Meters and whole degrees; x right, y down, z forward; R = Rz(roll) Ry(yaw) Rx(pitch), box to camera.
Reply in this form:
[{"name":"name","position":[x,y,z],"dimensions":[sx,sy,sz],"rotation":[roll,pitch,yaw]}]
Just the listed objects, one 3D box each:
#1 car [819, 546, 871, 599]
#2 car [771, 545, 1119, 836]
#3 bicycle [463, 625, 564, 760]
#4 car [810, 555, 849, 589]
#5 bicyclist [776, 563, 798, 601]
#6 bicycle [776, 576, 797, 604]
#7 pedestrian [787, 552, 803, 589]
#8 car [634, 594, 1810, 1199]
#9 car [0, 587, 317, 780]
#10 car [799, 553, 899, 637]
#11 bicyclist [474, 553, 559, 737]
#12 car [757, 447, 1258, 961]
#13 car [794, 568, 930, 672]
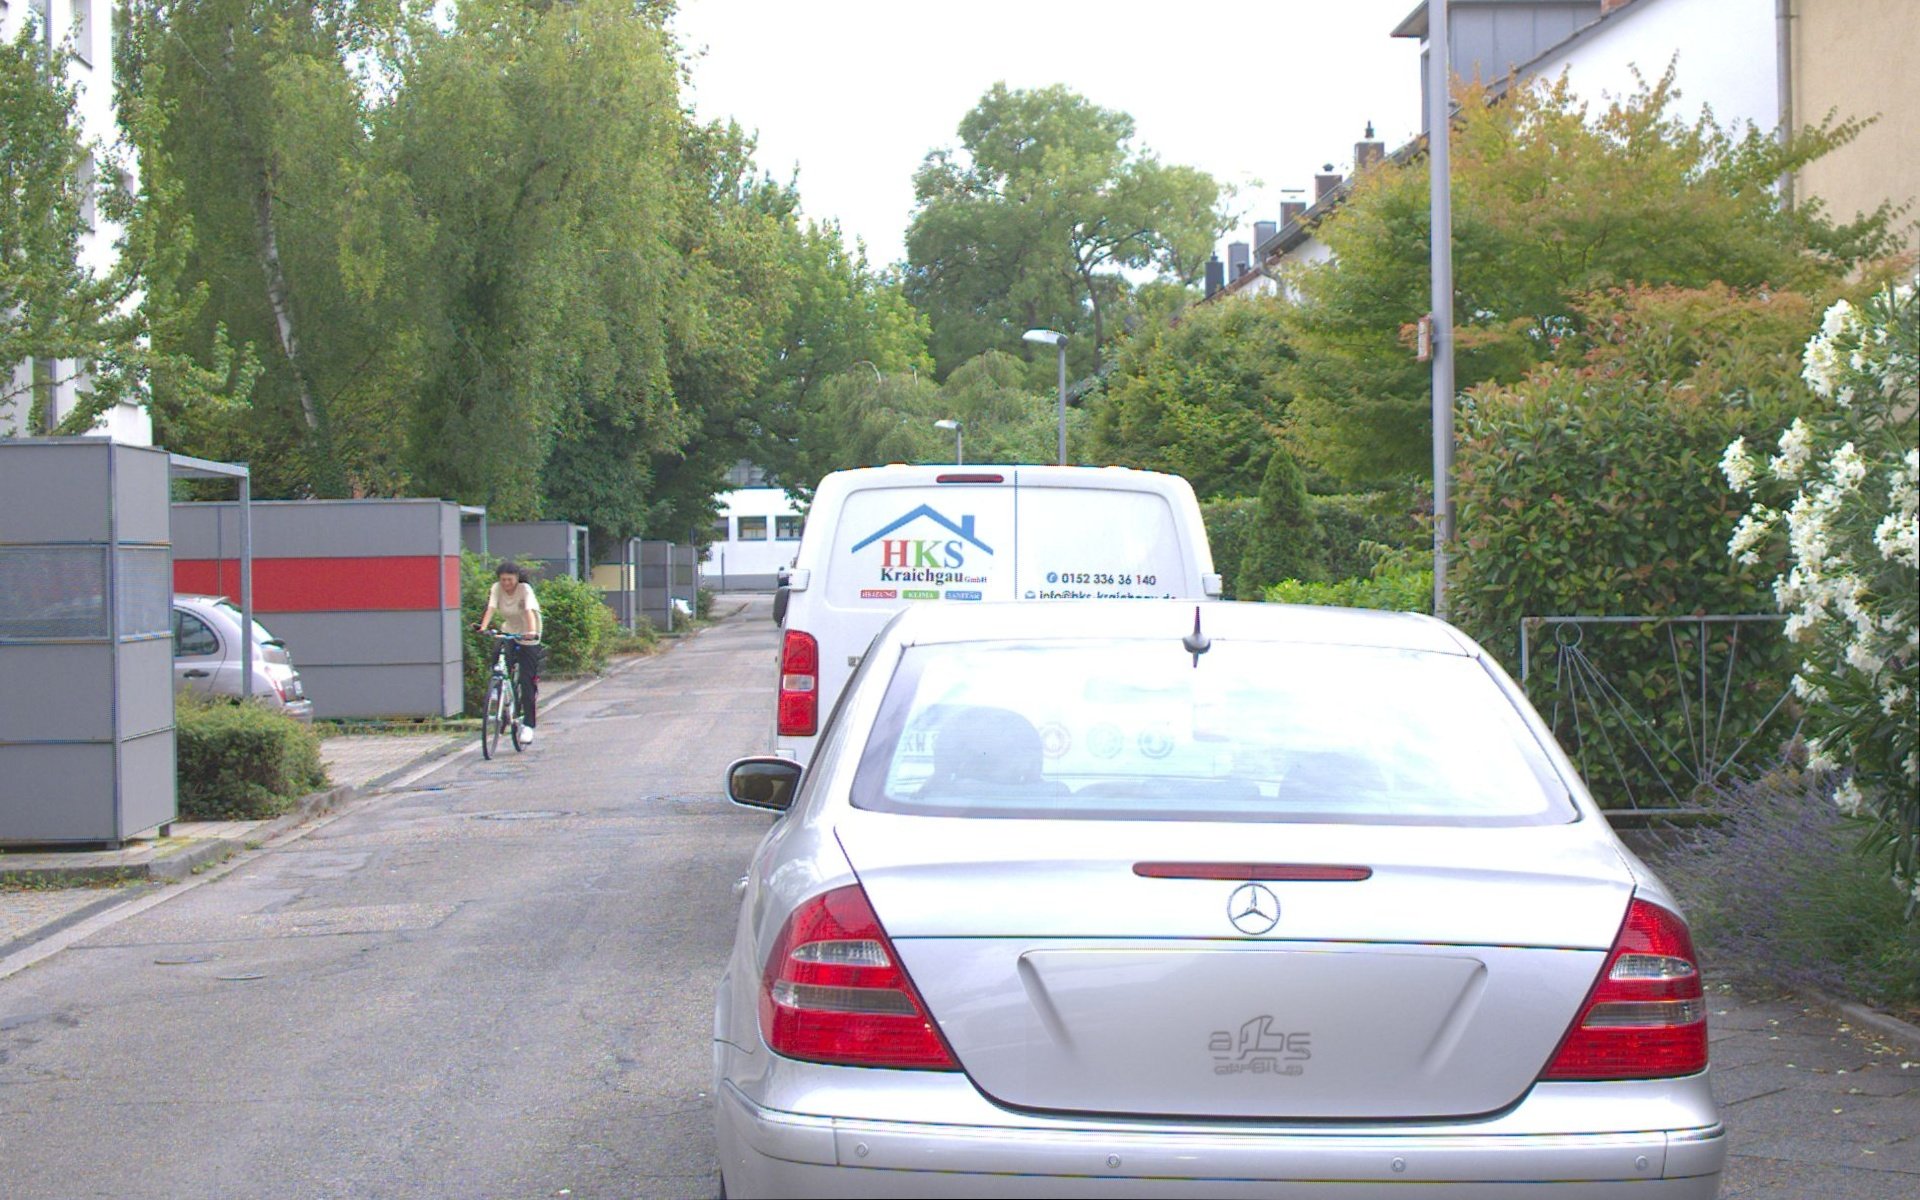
[{"name":"car","position":[-4.137,-1.011,124.420],"dimensions":[1.825,1.877,4.000],"rotation":[1,1,-2]},{"name":"car","position":[-0.196,0.493,21.493],"dimensions":[1.824,1.630,4.163],"rotation":[0,1,-5]},{"name":"bicycle","position":[-3.877,0.784,29.954],"dimensions":[0.597,1.072,2.042],"rotation":[-2,1,-1]},{"name":"car","position":[-6.267,-1.336,165.343],"dimensions":[1.825,1.576,4.000],"rotation":[1,1,-2]},{"name":"bicyclist","position":[-6.990,-0.722,138.983],"dimensions":[0.798,1.506,0.934],"rotation":[1,0,0]},{"name":"bicycle","position":[-7.017,-0.403,139.036],"dimensions":[0.689,1.127,2.579],"rotation":[1,0,0]},{"name":"pedestrian","position":[-8.141,-1.447,169.785],"dimensions":[0.777,1.799,0.548],"rotation":[1,0,-3]},{"name":"car","position":[0.376,0.722,7.461],"dimensions":[1.783,1.416,4.455],"rotation":[0,1,-1]},{"name":"car","position":[-7.297,0.694,28.866],"dimensions":[3.561,1.475,1.711],"rotation":[-2,1,-6]},{"name":"car","position":[-2.215,-0.119,67.801],"dimensions":[1.825,1.576,4.001],"rotation":[1,1,-3]},{"name":"bicyclist","position":[-3.893,0.388,30.191],"dimensions":[0.597,1.575,0.767],"rotation":[-2,0,-1]},{"name":"car","position":[0.060,0.376,15.793],"dimensions":[1.903,1.958,5.254],"rotation":[0,1,-3]},{"name":"car","position":[-1.398,0.251,48.904],"dimensions":[1.825,1.365,4.331],"rotation":[1,1,-2]}]
